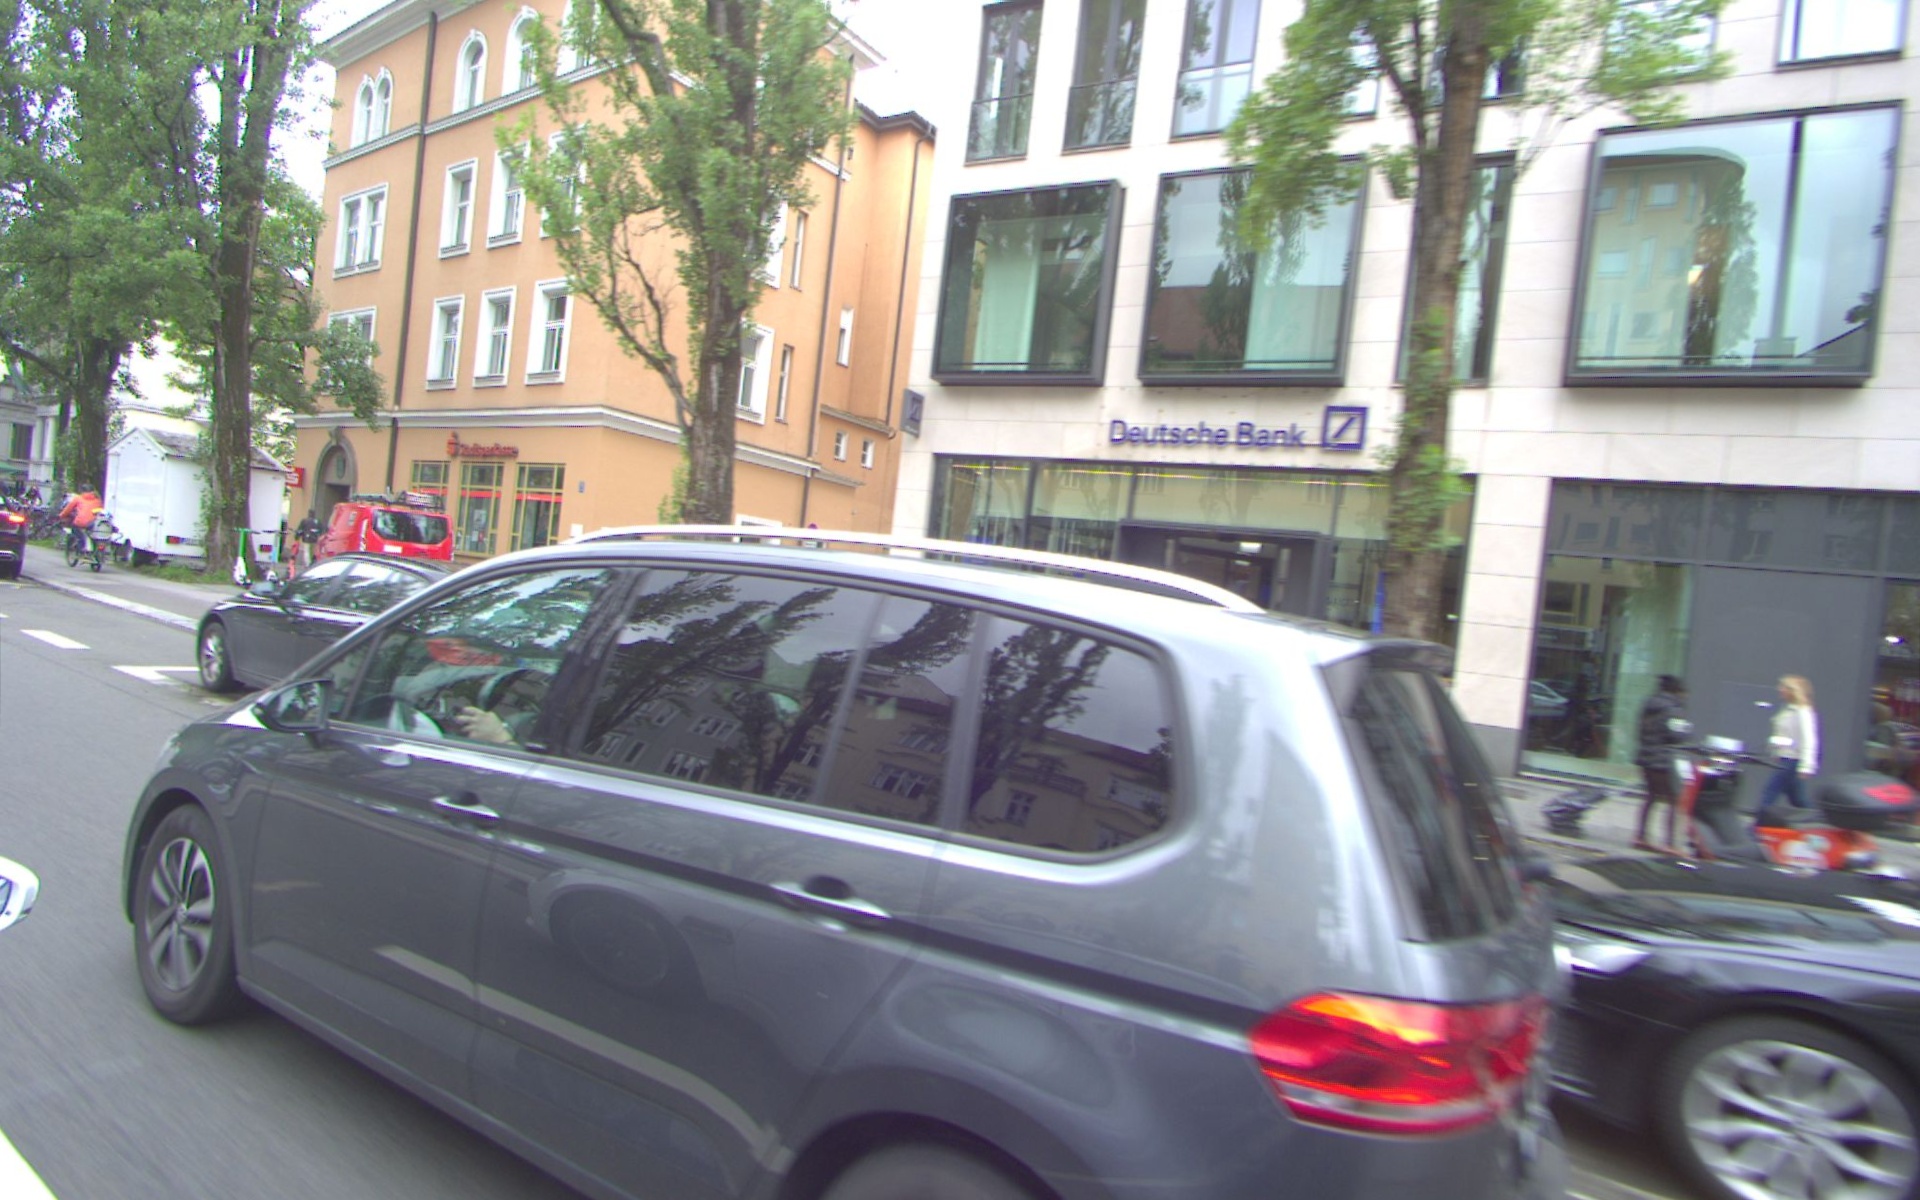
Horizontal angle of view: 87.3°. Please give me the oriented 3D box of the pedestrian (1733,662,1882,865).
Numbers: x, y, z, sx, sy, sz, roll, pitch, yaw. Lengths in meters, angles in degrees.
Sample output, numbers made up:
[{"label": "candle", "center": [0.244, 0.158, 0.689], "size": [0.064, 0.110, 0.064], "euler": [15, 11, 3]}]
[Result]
[{"label": "pedestrian", "center": [8.150, 1.557, 9.682], "size": [0.786, 1.795, 0.677], "euler": [6, 2, -27]}]

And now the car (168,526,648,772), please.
[{"label": "car", "center": [-4.909, 0.296, 8.736], "size": [4.361, 1.412, 1.734], "euler": [7, 1, 33]}]

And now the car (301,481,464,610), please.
[{"label": "car", "center": [-12.586, -1.238, 21.766], "size": [1.894, 2.358, 4.765], "euler": [5, 1, -43]}]

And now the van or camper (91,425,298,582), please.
[{"label": "van or camper", "center": [-18.036, -2.284, 23.652], "size": [4.642, 3.152, 2.459], "euler": [7, 1, 36]}]

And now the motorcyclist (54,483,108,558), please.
[{"label": "motorcyclist", "center": [-17.954, -1.628, 20.543], "size": [0.753, 1.425, 0.564], "euler": [7, 2, 31]}]

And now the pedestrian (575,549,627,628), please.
[{"label": "pedestrian", "center": [-7.616, -0.239, 21.351], "size": [0.701, 1.571, 0.606], "euler": [6, 2, 7]}]

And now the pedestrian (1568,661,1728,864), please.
[{"label": "pedestrian", "center": [6.129, 1.401, 9.030], "size": [0.922, 1.597, 0.835], "euler": [7, 1, 27]}]

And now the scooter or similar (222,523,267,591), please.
[{"label": "scooter or similar", "center": [-14.296, -0.867, 20.083], "size": [0.522, 1.249, 1.459], "euler": [3, 3, -42]}]

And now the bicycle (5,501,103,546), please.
[{"label": "bicycle", "center": [-26.870, -2.257, 29.851], "size": [0.681, 1.036, 2.050], "euler": [7, 0, 42]}]

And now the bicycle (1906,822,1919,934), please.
[{"label": "bicycle", "center": [7.295, 1.875, 6.404], "size": [1.737, 0.953, 0.432], "euler": [7, 2, 40]}]

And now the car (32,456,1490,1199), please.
[{"label": "car", "center": [-0.827, 0.603, 3.074], "size": [4.113, 1.633, 1.764], "euler": [7, -1, 31]}]

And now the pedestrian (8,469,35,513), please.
[{"label": "pedestrian", "center": [-37.898, -4.383, 40.618], "size": [0.756, 1.666, 0.646], "euler": [6, -1, 44]}]

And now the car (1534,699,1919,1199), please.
[{"label": "car", "center": [4.238, 1.349, 2.873], "size": [4.352, 1.446, 1.849], "euler": [7, 0, 32]}]

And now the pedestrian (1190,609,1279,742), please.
[{"label": "pedestrian", "center": [3.699, 0.997, 13.532], "size": [0.823, 1.642, 0.736], "euler": [7, 2, 29]}]

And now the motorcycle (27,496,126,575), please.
[{"label": "motorcycle", "center": [-17.989, -1.323, 20.473], "size": [2.215, 1.388, 0.827], "euler": [7, 2, 31]}]

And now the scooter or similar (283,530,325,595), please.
[{"label": "scooter or similar", "center": [-13.553, -0.788, 20.770], "size": [0.484, 1.249, 1.153], "euler": [3, 3, -42]}]

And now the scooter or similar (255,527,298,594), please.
[{"label": "scooter or similar", "center": [-13.823, -0.803, 20.326], "size": [0.484, 1.249, 1.389], "euler": [3, 3, -42]}]

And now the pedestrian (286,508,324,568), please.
[{"label": "pedestrian", "center": [-19.285, -1.823, 29.617], "size": [0.630, 1.634, 0.672], "euler": [7, 2, 37]}]

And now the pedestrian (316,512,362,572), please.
[{"label": "pedestrian", "center": [-18.383, -1.708, 29.778], "size": [0.767, 1.634, 0.820], "euler": [7, 2, 37]}]

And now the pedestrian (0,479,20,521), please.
[{"label": "pedestrian", "center": [-45.813, -4.817, 48.282], "size": [0.728, 1.877, 0.761], "euler": [7, 2, 32]}]

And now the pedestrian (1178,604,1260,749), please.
[{"label": "pedestrian", "center": [3.121, 0.919, 12.150], "size": [0.546, 1.658, 0.554], "euler": [6, 1, -31]}]

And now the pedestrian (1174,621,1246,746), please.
[{"label": "pedestrian", "center": [3.176, 1.055, 12.799], "size": [0.498, 1.510, 0.543], "euler": [6, 1, -31]}]

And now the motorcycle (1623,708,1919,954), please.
[{"label": "motorcycle", "center": [5.852, 1.558, 7.276], "size": [0.627, 1.267, 1.973], "euler": [6, 1, -1]}]

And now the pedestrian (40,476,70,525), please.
[{"label": "pedestrian", "center": [-37.263, -4.081, 41.430], "size": [0.756, 1.895, 0.699], "euler": [6, -1, 44]}]

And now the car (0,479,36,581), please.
[{"label": "car", "center": [-18.084, -1.426, 17.647], "size": [4.512, 1.662, 1.880], "euler": [7, 1, 37]}]

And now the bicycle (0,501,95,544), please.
[{"label": "bicycle", "center": [-28.179, -2.378, 31.073], "size": [0.678, 1.036, 2.059], "euler": [7, 0, 24]}]

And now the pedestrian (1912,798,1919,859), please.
[{"label": "pedestrian", "center": [10.303, 1.870, 10.095], "size": [0.786, 1.642, 0.713], "euler": [6, 2, -26]}]

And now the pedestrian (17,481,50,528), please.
[{"label": "pedestrian", "center": [-35.106, -3.611, 38.123], "size": [0.663, 1.671, 0.621], "euler": [6, 1, -28]}]
